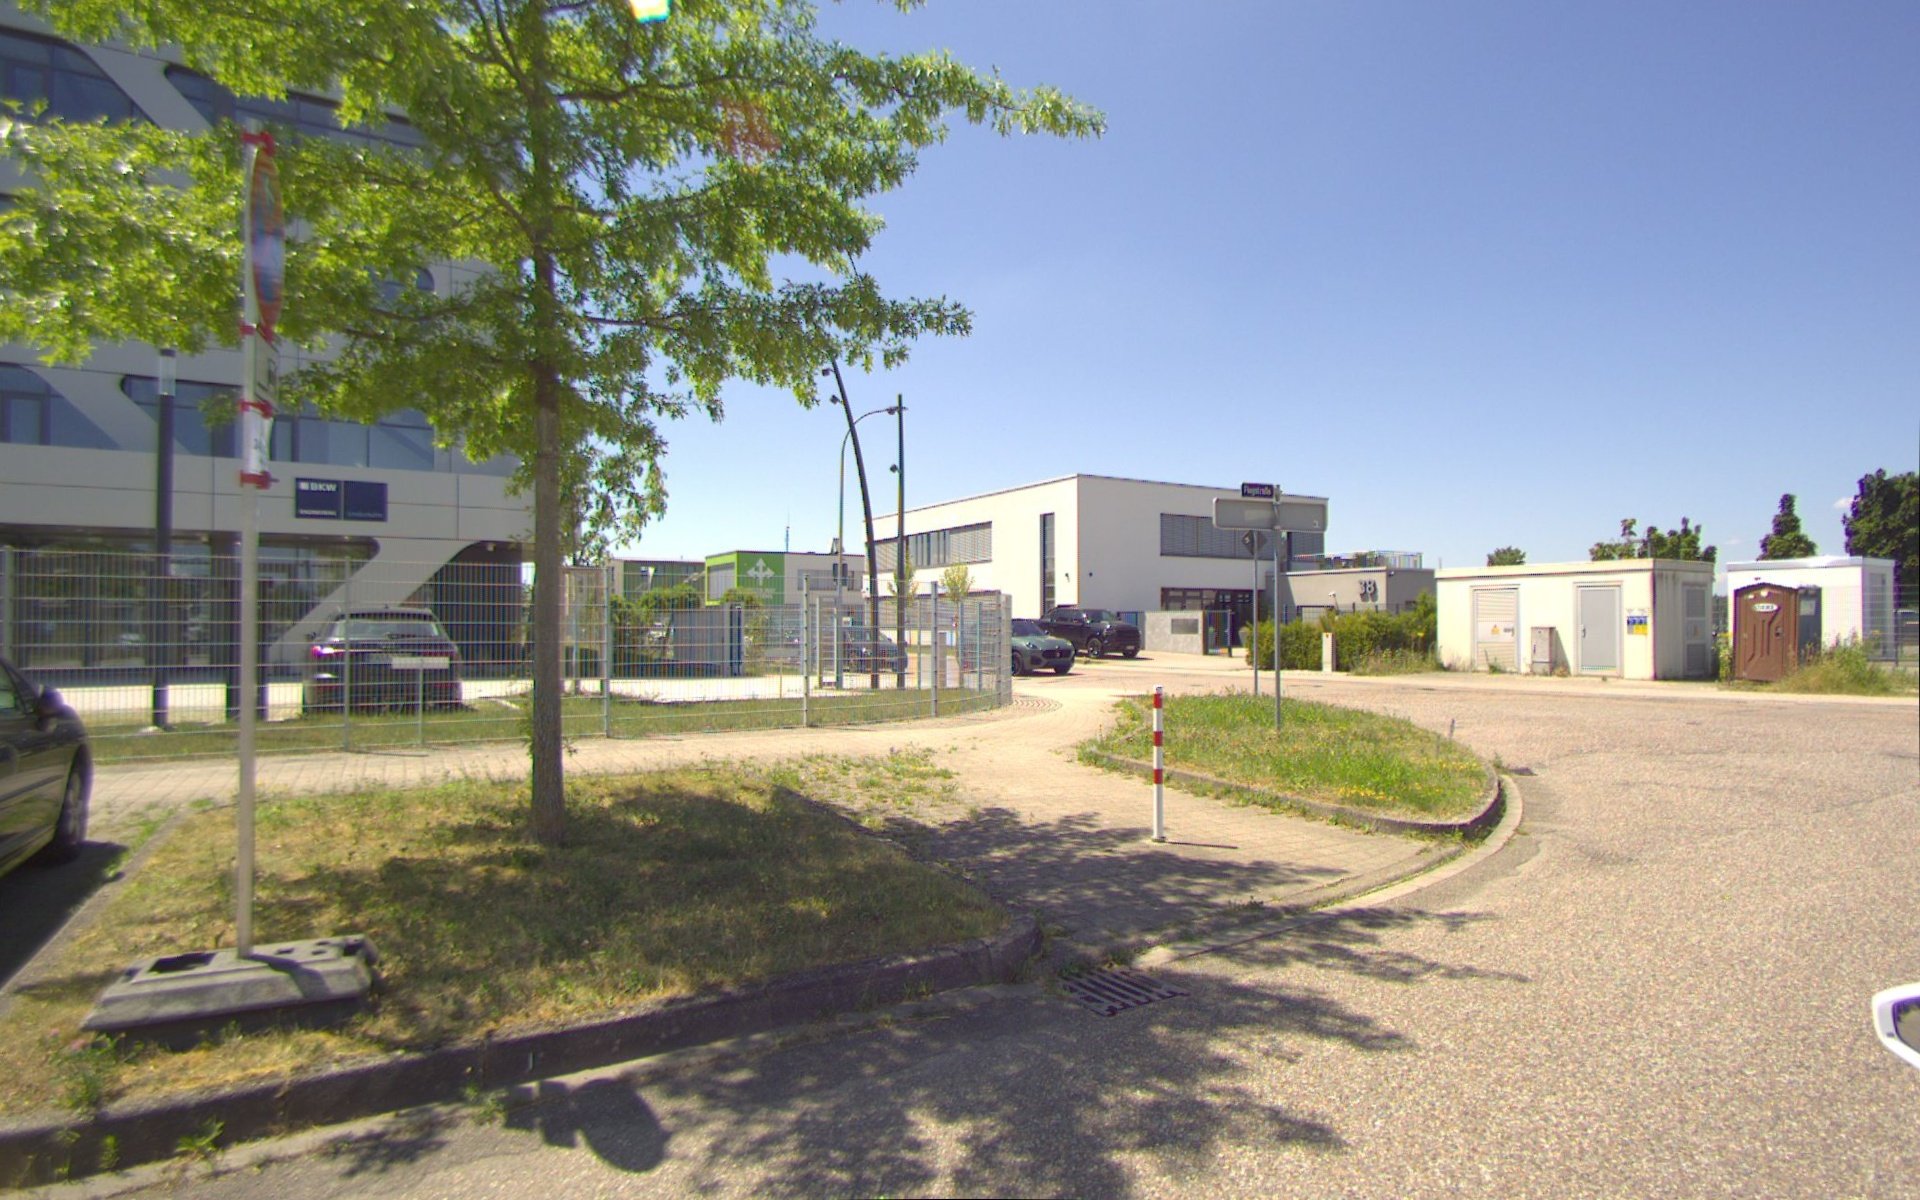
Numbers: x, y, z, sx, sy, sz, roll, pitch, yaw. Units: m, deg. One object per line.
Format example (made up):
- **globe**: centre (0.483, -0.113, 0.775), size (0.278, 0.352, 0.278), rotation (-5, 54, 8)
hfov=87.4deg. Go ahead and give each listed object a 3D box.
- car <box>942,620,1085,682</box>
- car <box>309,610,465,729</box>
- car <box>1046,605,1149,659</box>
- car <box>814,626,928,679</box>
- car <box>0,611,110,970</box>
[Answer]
- **car**: centre (1.570, 1.530, 30.934), size (1.939, 1.730, 4.465), rotation (-1, -1, -37)
- **car**: centre (-7.882, 0.904, 13.839), size (1.658, 1.409, 3.463), rotation (0, -3, -31)
- **car**: centre (5.429, 1.280, 40.168), size (1.979, 2.040, 3.964), rotation (0, -2, -33)
- **car**: centre (-2.900, 1.662, 32.010), size (1.979, 1.560, 3.964), rotation (3, -4, -33)
- **car**: centre (-5.059, 0.806, 4.262), size (1.707, 1.455, 3.605), rotation (1, 0, -32)
